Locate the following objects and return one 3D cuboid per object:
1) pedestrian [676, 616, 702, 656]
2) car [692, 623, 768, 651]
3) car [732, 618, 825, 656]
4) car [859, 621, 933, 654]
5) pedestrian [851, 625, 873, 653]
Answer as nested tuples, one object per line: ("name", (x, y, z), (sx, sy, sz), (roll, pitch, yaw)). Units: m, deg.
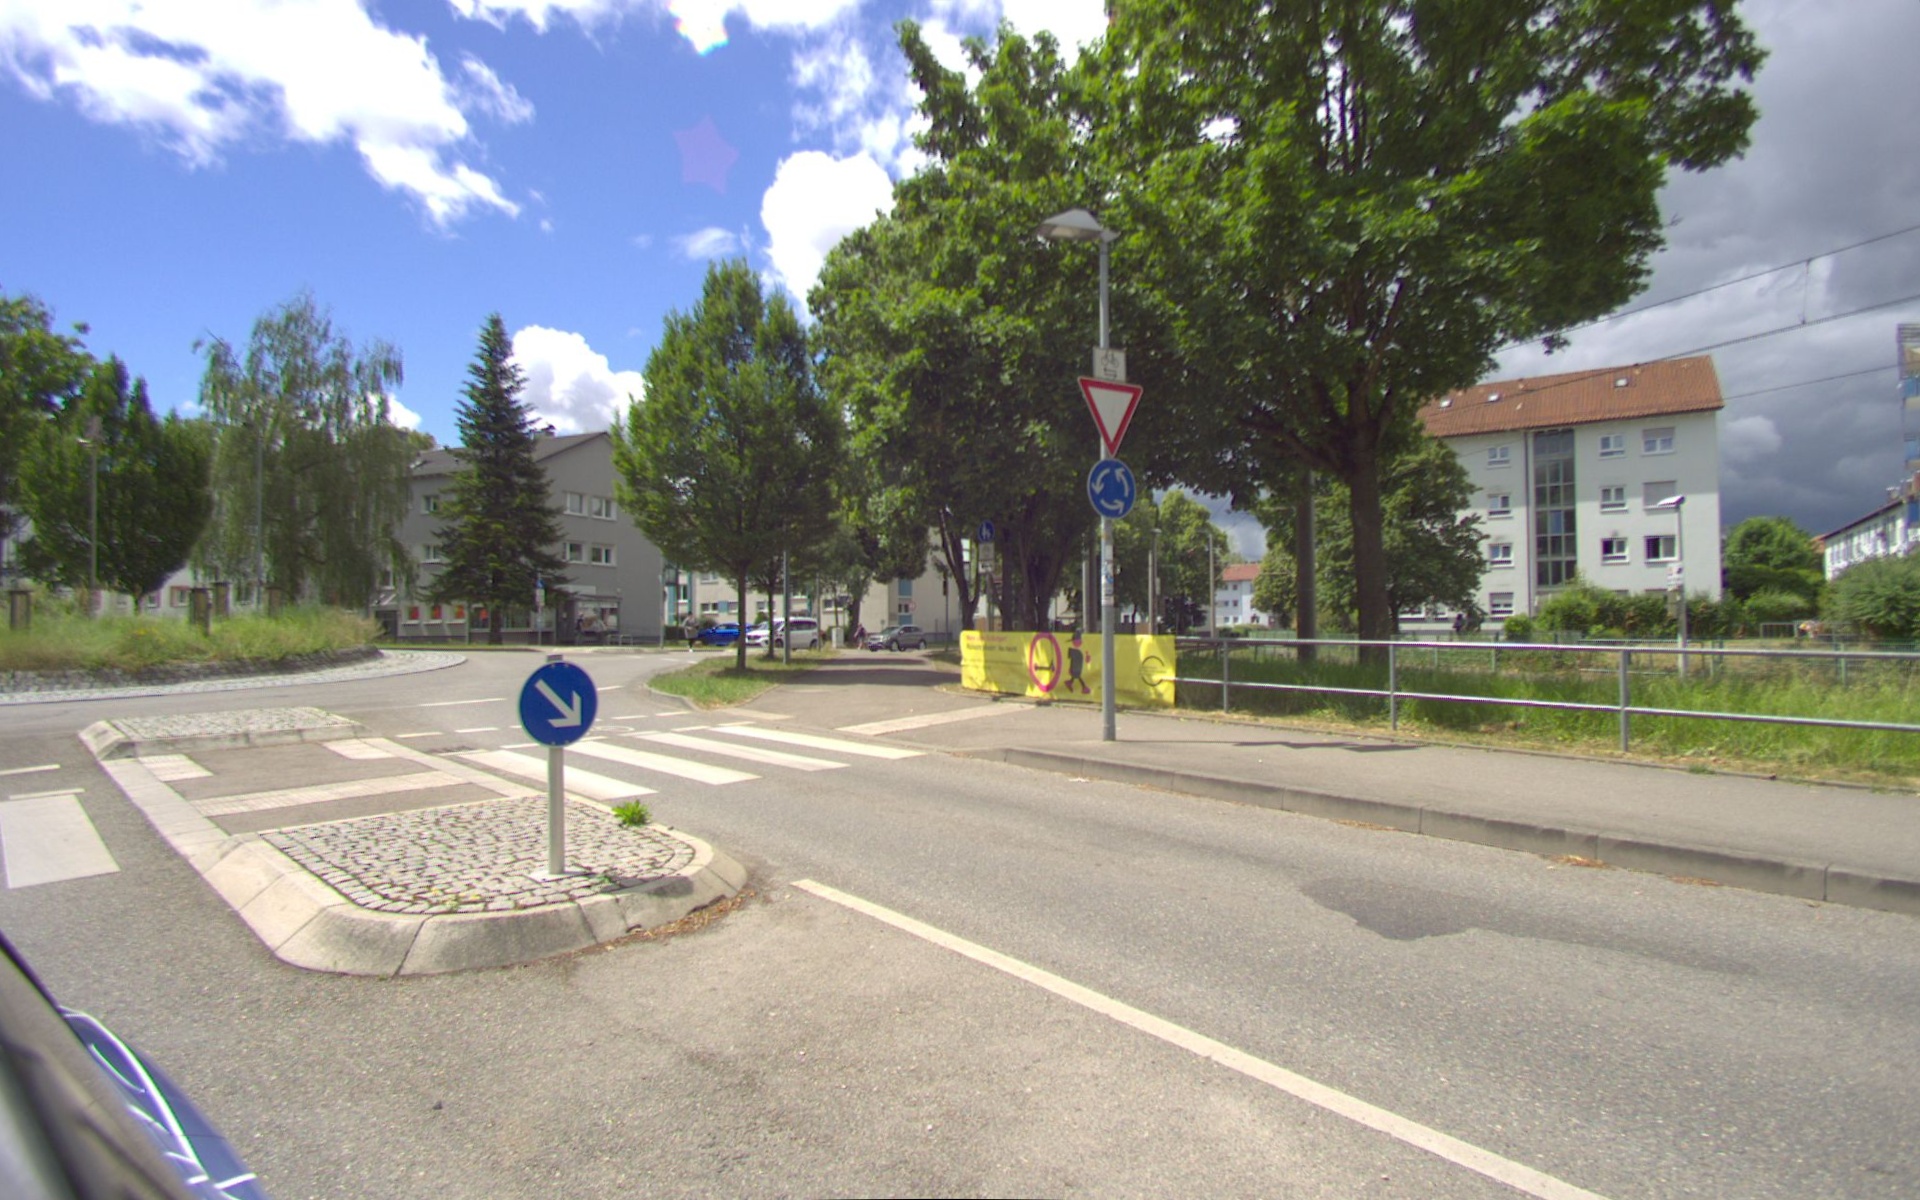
("pedestrian", (-11.667, 1.535, 43.495), (0.860, 1.677, 1.025), (1, -2, -28))
("car", (-13.326, 2.118, 58.623), (4.098, 1.534, 1.795), (0, -2, 24))
("car", (-9.100, 1.836, 51.084), (1.995, 1.810, 4.565), (-1, -2, 34))
("car", (-3.716, 2.180, 59.713), (1.995, 1.810, 4.564), (-1, -2, 34))
("pedestrian", (-6.002, 2.357, 61.729), (0.875, 1.677, 1.009), (-1, -2, 39))
